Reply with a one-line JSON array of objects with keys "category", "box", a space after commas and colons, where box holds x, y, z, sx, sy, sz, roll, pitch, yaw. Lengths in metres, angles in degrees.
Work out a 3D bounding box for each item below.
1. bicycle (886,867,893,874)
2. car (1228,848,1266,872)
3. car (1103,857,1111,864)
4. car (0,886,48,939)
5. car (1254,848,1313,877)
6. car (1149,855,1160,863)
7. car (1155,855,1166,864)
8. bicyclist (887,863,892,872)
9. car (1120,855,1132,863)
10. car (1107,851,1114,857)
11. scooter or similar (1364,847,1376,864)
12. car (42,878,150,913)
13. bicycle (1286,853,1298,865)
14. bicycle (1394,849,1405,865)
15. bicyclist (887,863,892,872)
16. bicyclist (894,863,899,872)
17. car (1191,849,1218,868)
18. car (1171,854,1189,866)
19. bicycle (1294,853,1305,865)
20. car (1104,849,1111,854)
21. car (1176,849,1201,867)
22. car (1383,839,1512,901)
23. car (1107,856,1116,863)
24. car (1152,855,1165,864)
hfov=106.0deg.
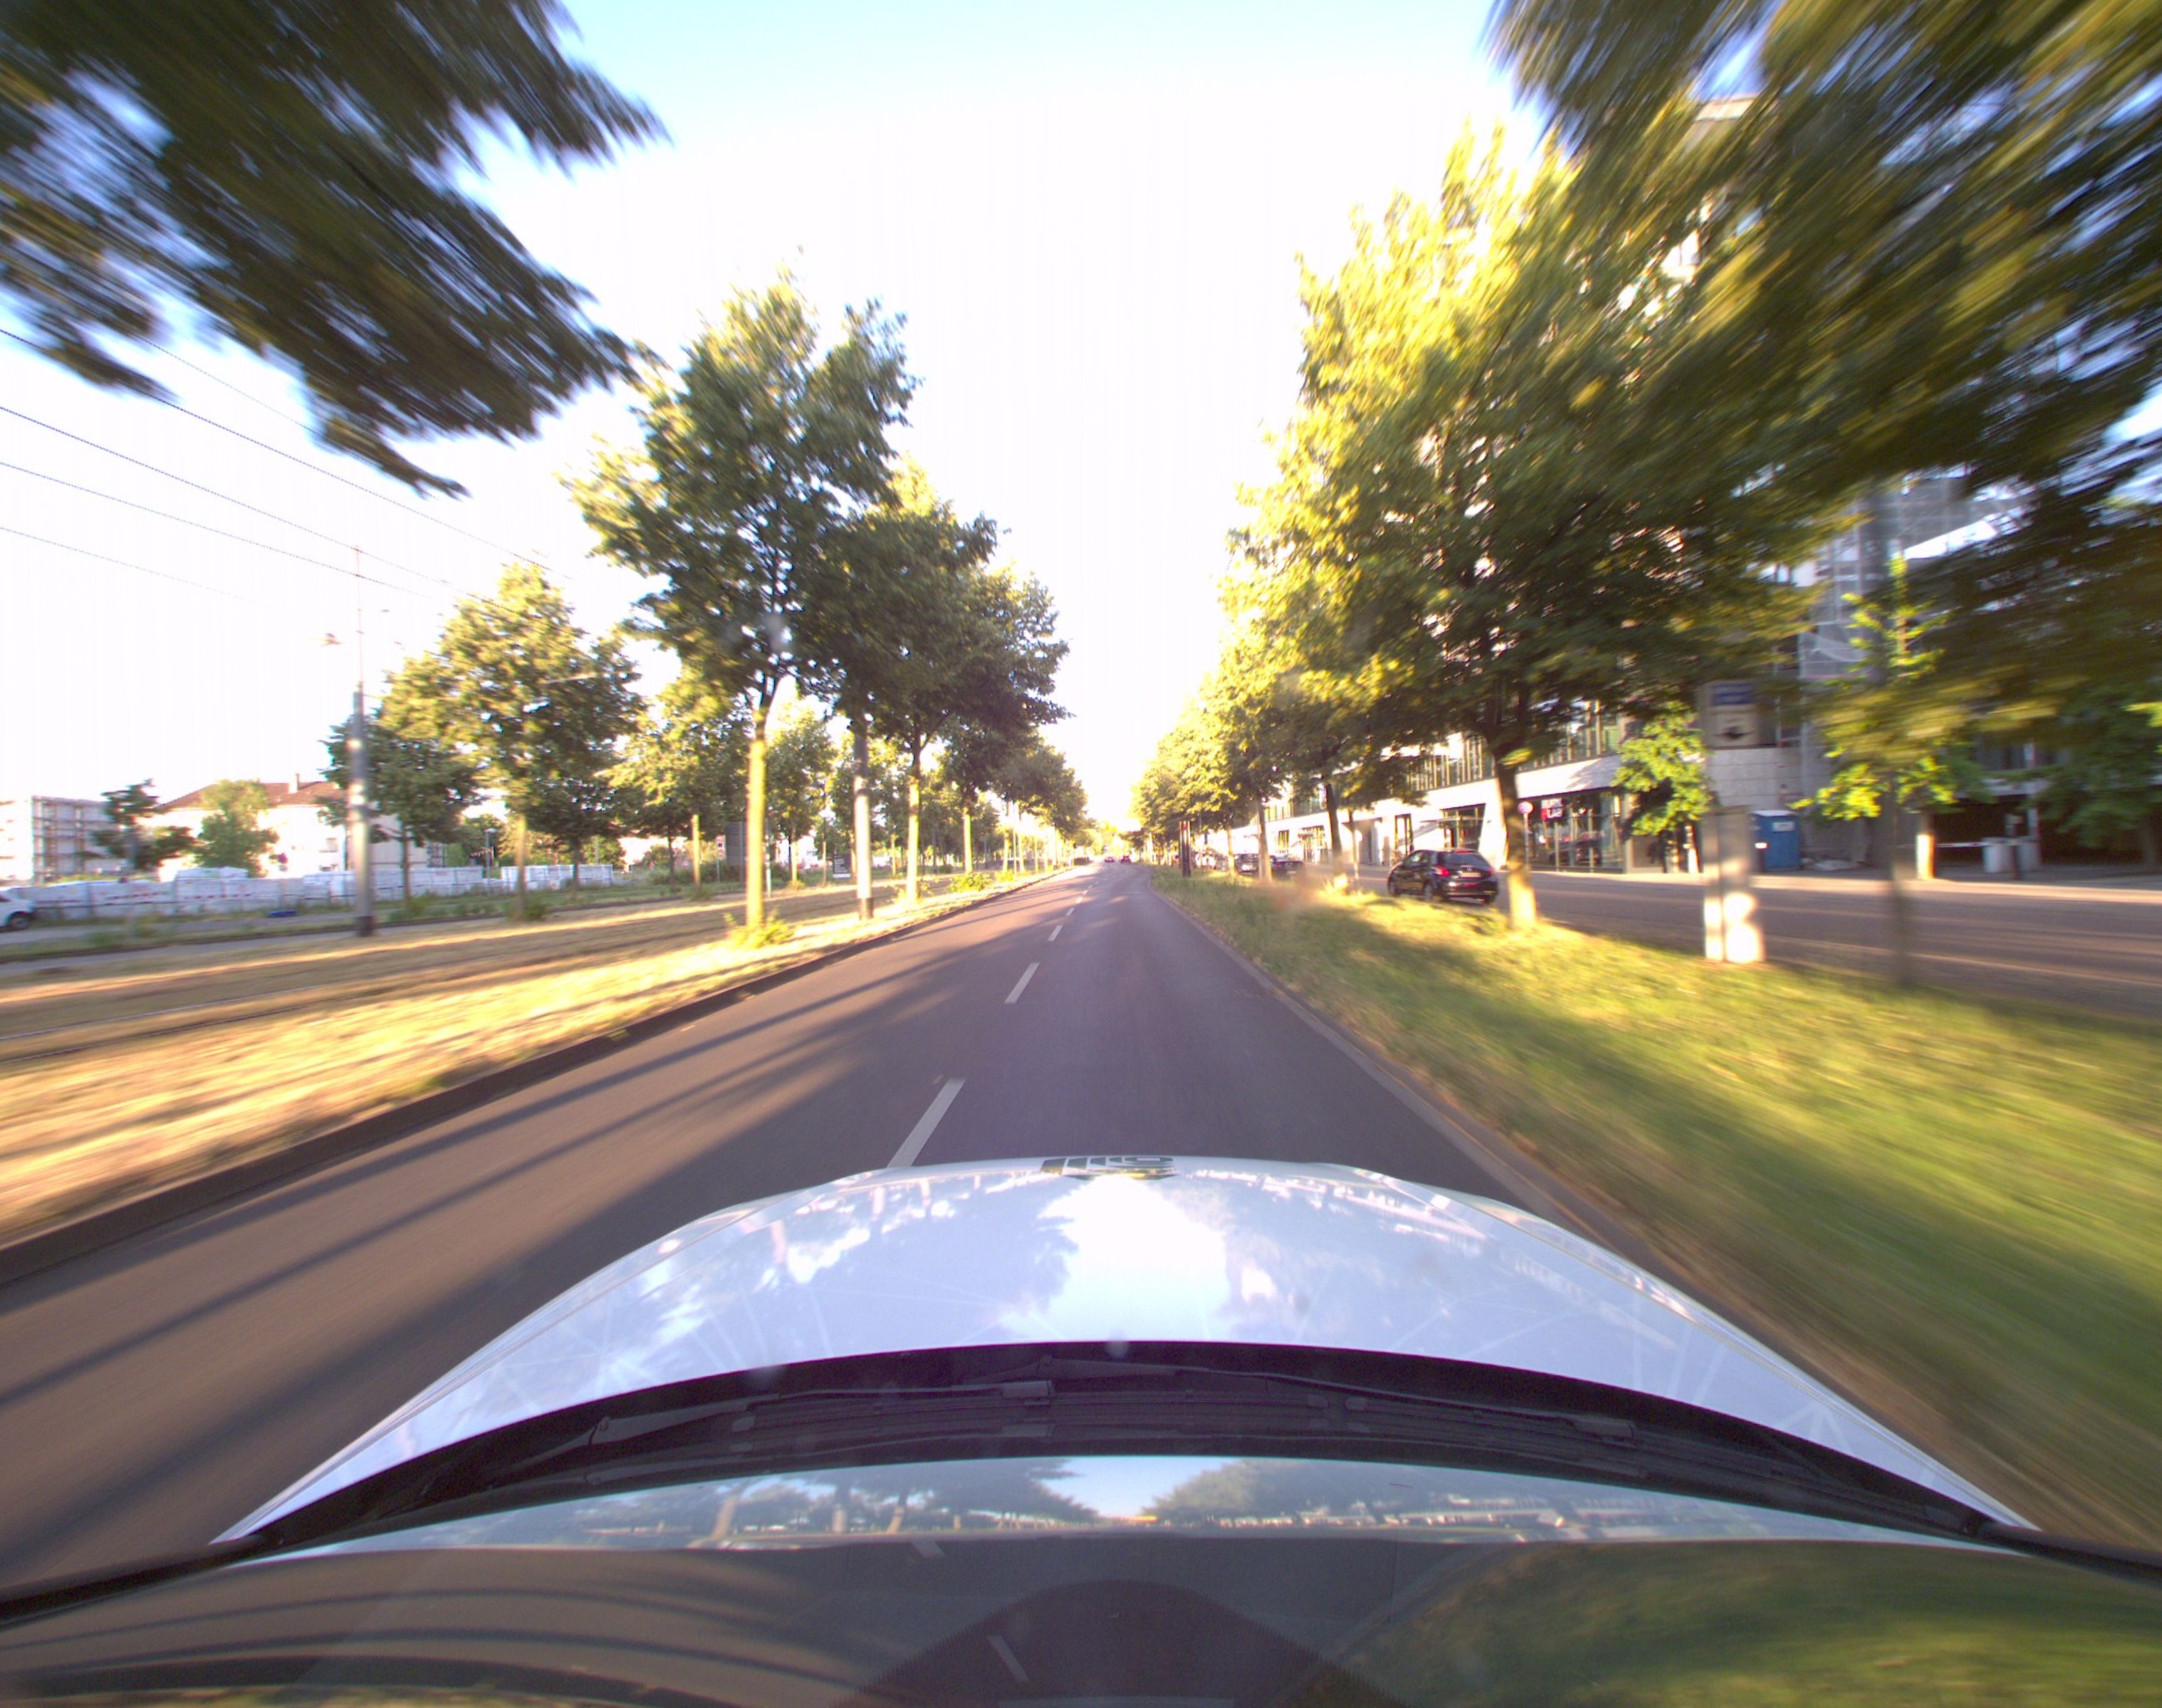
[{"category": "bicycle", "box": [-32.107, 2.735, 136.497, 0.617, 1.011, 2.082, -2, 0, 0]}, {"category": "car", "box": [10.656, 0.385, 52.438, 1.703, 1.515, 3.759, 0, 0, 1]}, {"category": "car", "box": [5.919, 1.388, 186.006, 1.905, 1.486, 4.001, -2, 0, 1]}, {"category": "car", "box": [-43.469, 2.357, 30.787, 2.198, 2.013, 5.086, -2, 0, 2]}, {"category": "car", "box": [10.382, 0.416, 42.139, 1.846, 1.367, 4.833, -2, 0, 0]}, {"category": "car", "box": [14.155, 0.998, 157.610, 1.751, 1.466, 4.157, -2, 0, 0]}, {"category": "car", "box": [13.242, 0.935, 135.490, 1.569, 1.472, 3.884, -2, 0, 3]}, {"category": "bicyclist", "box": [-32.131, 2.318, 136.465, 0.617, 1.456, 0.937, -2, -1, 0]}, {"category": "car", "box": [8.147, 0.918, 147.650, 1.905, 1.486, 4.001, -2, 0, 1]}, {"category": "car", "box": [8.014, -0.045, 223.237, 1.905, 1.486, 4.001, -2, 0, 1]}, {"category": "scooter or similar", "box": [20.832, 0.102, 58.696, 0.470, 1.211, 1.229, -2, 0, 3]}, {"category": "car", "box": [-64.882, 2.684, 53.759, 1.791, 1.982, 4.312, -2, 0, 1]}, {"category": "bicycle", "box": [18.233, 0.422, 70.288, 0.592, 1.039, 1.894, -2, 0, 3]}, {"category": "bicycle", "box": [20.598, 0.181, 52.711, 0.449, 1.027, 1.402, -2, 0, 28]}, {"category": "bicyclist", "box": [-31.475, 2.191, 133.842, 0.617, 1.421, 0.937, -2, -1, 0]}, {"category": "bicyclist", "box": [-30.982, 2.212, 136.913, 0.617, 1.456, 0.937, -2, -1, 0]}, {"category": "car", "box": [11.687, 0.417, 77.176, 1.985, 1.642, 4.881, -2, 0, 3]}, {"category": "car", "box": [12.417, 0.723, 102.422, 1.861, 1.411, 4.649, -2, 0, 3]}, {"category": "bicycle", "box": [18.787, 0.418, 70.002, 0.468, 1.039, 1.808, -2, 0, 3]}, {"category": "car", "box": [7.693, -0.660, 238.069, 1.905, 1.486, 4.001, -2, 0, 1]}, {"category": "car", "box": [11.805, 0.460, 89.670, 1.987, 1.852, 4.664, -2, 0, 0]}, {"category": "car", "box": [9.644, 0.384, 21.784, 1.774, 1.494, 4.002, 1, 0, 2]}, {"category": "car", "box": [6.520, 1.209, 176.456, 1.905, 1.486, 4.001, -2, 0, 1]}, {"category": "car", "box": [13.556, 0.992, 142.194, 1.772, 1.472, 4.287, -2, 0, 0]}]
